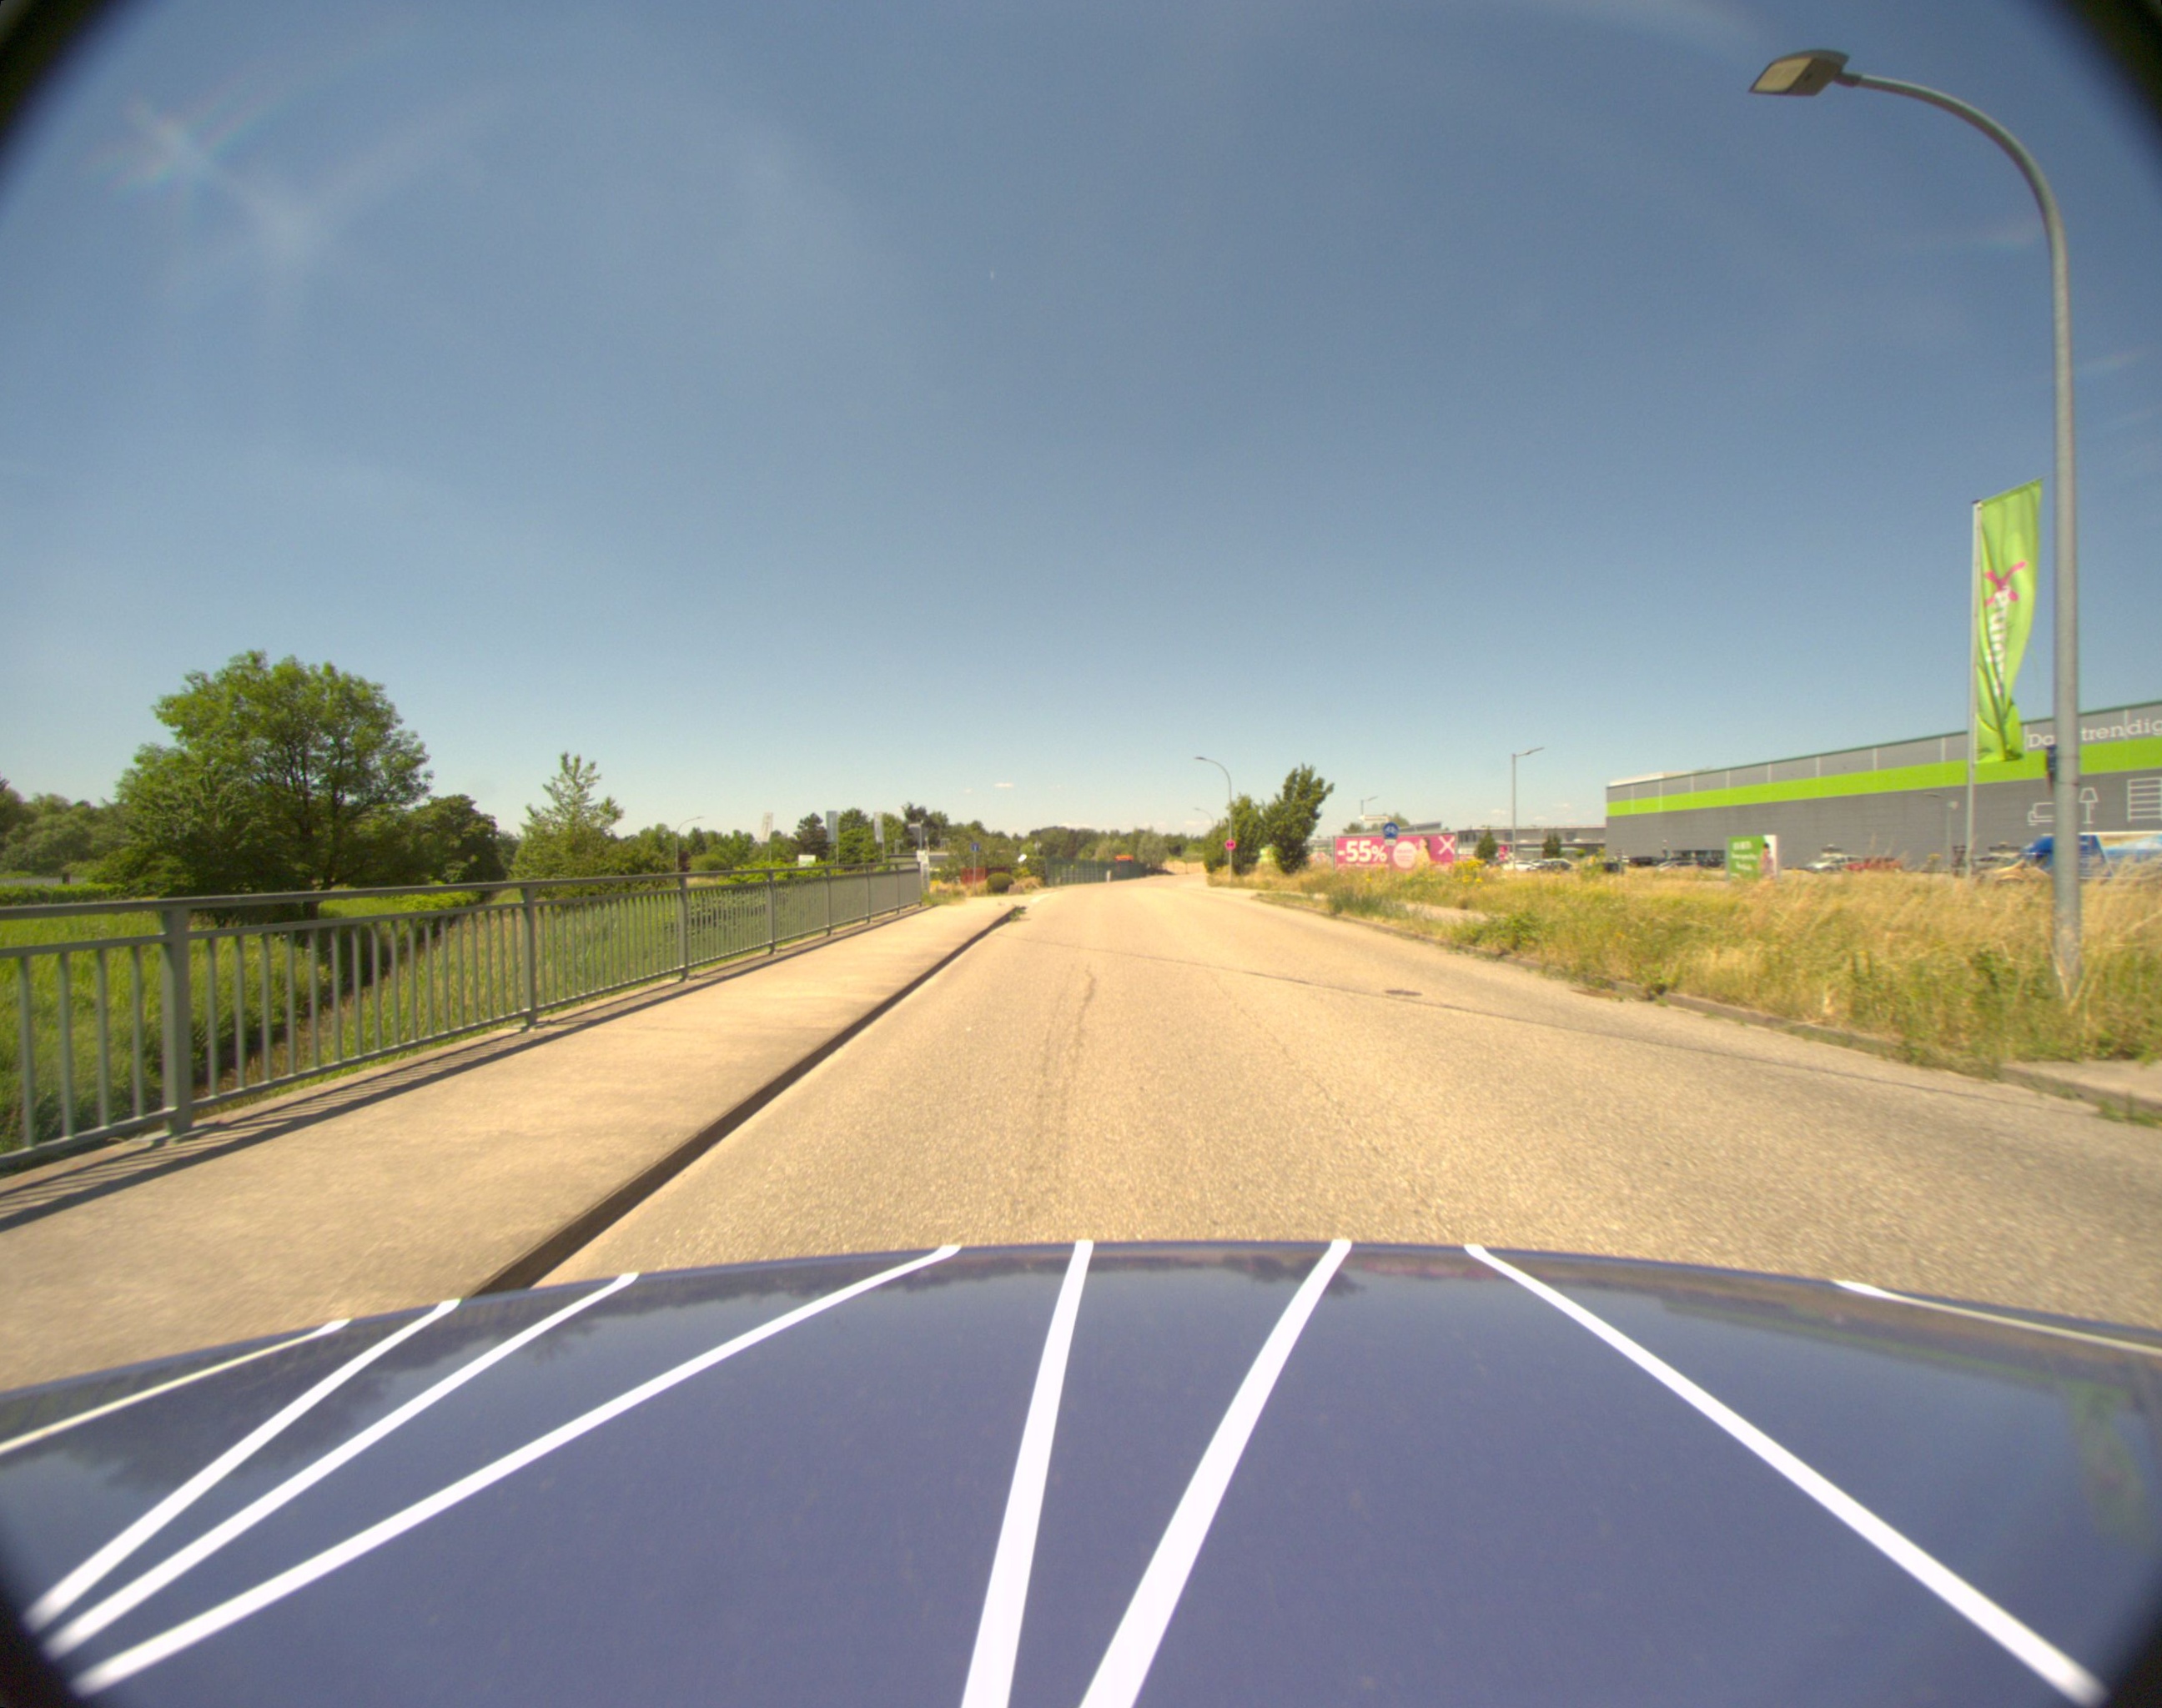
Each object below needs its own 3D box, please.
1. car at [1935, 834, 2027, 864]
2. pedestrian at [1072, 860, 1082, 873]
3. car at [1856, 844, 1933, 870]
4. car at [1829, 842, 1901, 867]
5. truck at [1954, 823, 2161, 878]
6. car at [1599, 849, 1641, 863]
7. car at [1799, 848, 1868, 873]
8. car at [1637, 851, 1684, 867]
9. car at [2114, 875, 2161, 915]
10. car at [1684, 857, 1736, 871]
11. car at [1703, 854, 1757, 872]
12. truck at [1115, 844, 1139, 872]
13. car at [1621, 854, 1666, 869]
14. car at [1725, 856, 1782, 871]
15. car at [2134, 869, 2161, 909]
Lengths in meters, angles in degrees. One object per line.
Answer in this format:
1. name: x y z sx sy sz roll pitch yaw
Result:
1. car: 66.443 -0.348 56.172 3.994 2.001 2.002 -2 0 10
2. pedestrian: -0.654 2.091 123.887 1.304 2.001 1.217 -2 -1 10
3. car: 67.604 0.275 63.192 3.995 2.001 2.001 -2 0 5
4. car: 67.728 0.053 65.668 3.995 2.001 1.912 -2 0 6
5. truck: 52.581 -0.139 40.321 7.756 2.667 2.968 -2 -1 39
6. car: 70.294 0.263 99.186 3.995 1.729 2.001 -2 0 6
7. car: 68.176 0.599 68.891 3.994 2.001 1.913 -2 0 11
8. car: 70.105 0.587 92.006 3.995 1.729 2.001 -2 0 6
9. car: 51.778 1.869 35.285 4.266 1.750 2.002 -2 -1 9
10. car: 70.282 1.095 84.907 3.995 1.513 2.001 -1 -1 7
11. car: 69.953 0.938 81.971 3.995 1.729 2.001 -2 0 6
12. truck: 7.175 0.672 117.778 2.845 4.171 8.139 -2 -1 8
13. car: 70.303 0.923 95.022 3.995 1.729 2.001 -2 0 6
14. car: 70.011 0.992 79.185 3.995 1.513 2.001 -1 -1 7
15. car: 42.934 1.264 28.439 3.996 1.458 2.001 -2 -1 4
